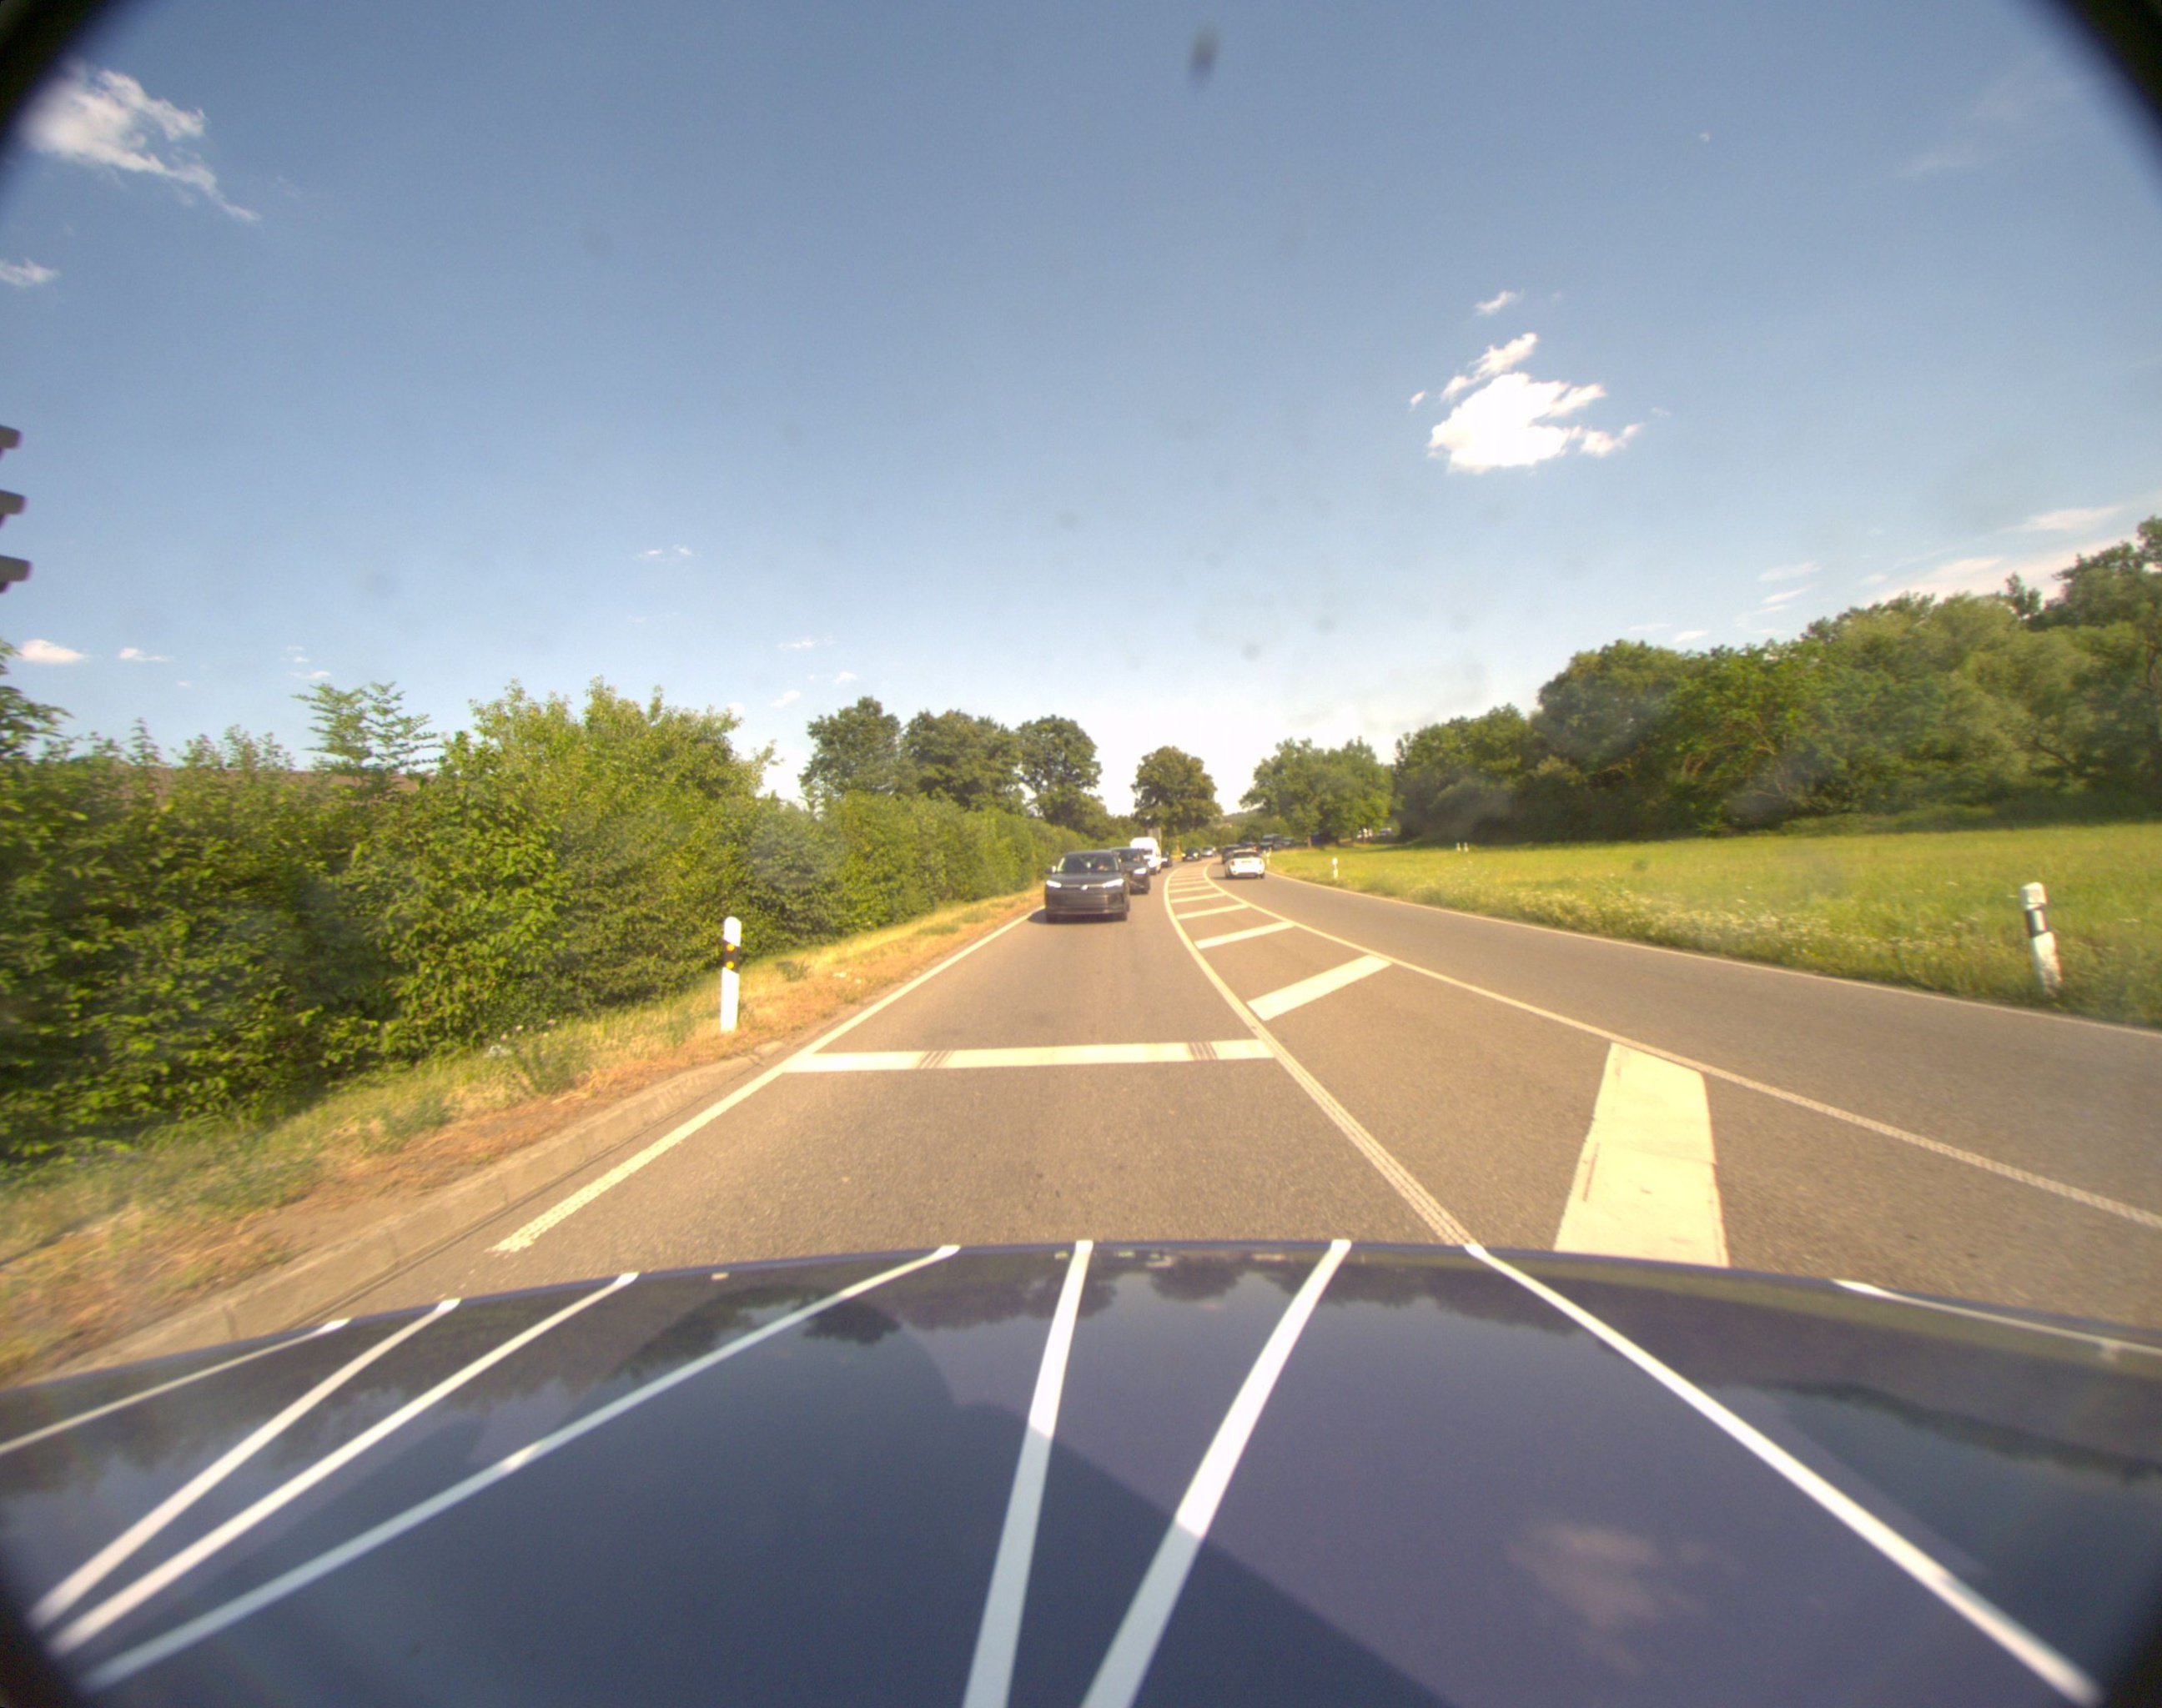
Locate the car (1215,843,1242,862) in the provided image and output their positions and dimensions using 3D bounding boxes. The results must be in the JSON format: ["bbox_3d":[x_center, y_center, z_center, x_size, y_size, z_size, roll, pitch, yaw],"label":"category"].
[{"bbox_3d":[12.872,-0.133,66.258,1.930,1.577,4.078,-1,1,15],"label":"car"}]

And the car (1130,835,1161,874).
[{"bbox_3d":[4.122,0.013,48.336,1.843,2.338,4.790,-2,1,6],"label":"car"}]

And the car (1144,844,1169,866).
[{"bbox_3d":[6.237,0.048,62.662,1.692,1.718,3.670,-2,1,10],"label":"car"}]

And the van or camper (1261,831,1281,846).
[{"bbox_3d":[33.444,-2.745,133.569,2.030,2.461,5.085,-4,0,29],"label":"van or camper"}]

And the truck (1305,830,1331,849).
[{"bbox_3d":[45.177,-2.785,144.584,2.919,3.194,6.693,-5,0,31],"label":"truck"}]

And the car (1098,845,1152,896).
[{"bbox_3d":[1.715,0.578,28.435,1.658,1.720,3.807,-2,0,8],"label":"car"}]

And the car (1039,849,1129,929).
[{"bbox_3d":[0.183,0.738,18.039,1.865,1.633,4.001,-2,1,4],"label":"car"}]

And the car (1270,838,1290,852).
[{"bbox_3d":[32.042,-1.458,122.305,1.995,1.846,4.006,-5,0,30],"label":"car"}]

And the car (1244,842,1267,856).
[{"bbox_3d":[22.747,-0.609,98.978,1.996,1.543,4.005,-5,0,25],"label":"car"}]

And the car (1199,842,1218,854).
[{"bbox_3d":[16.343,-0.788,97.526,1.632,1.549,3.422,0,2,23],"label":"car"}]

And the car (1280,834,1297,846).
[{"bbox_3d":[38.596,-2.625,141.389,1.995,2.002,4.007,-5,0,31],"label":"car"}]

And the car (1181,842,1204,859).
[{"bbox_3d":[11.797,-0.396,80.300,1.671,1.718,3.673,-2,1,20],"label":"car"}]

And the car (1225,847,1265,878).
[{"bbox_3d":[8.184,0.386,38.088,1.749,1.458,3.481,-1,1,10],"label":"car"}]
